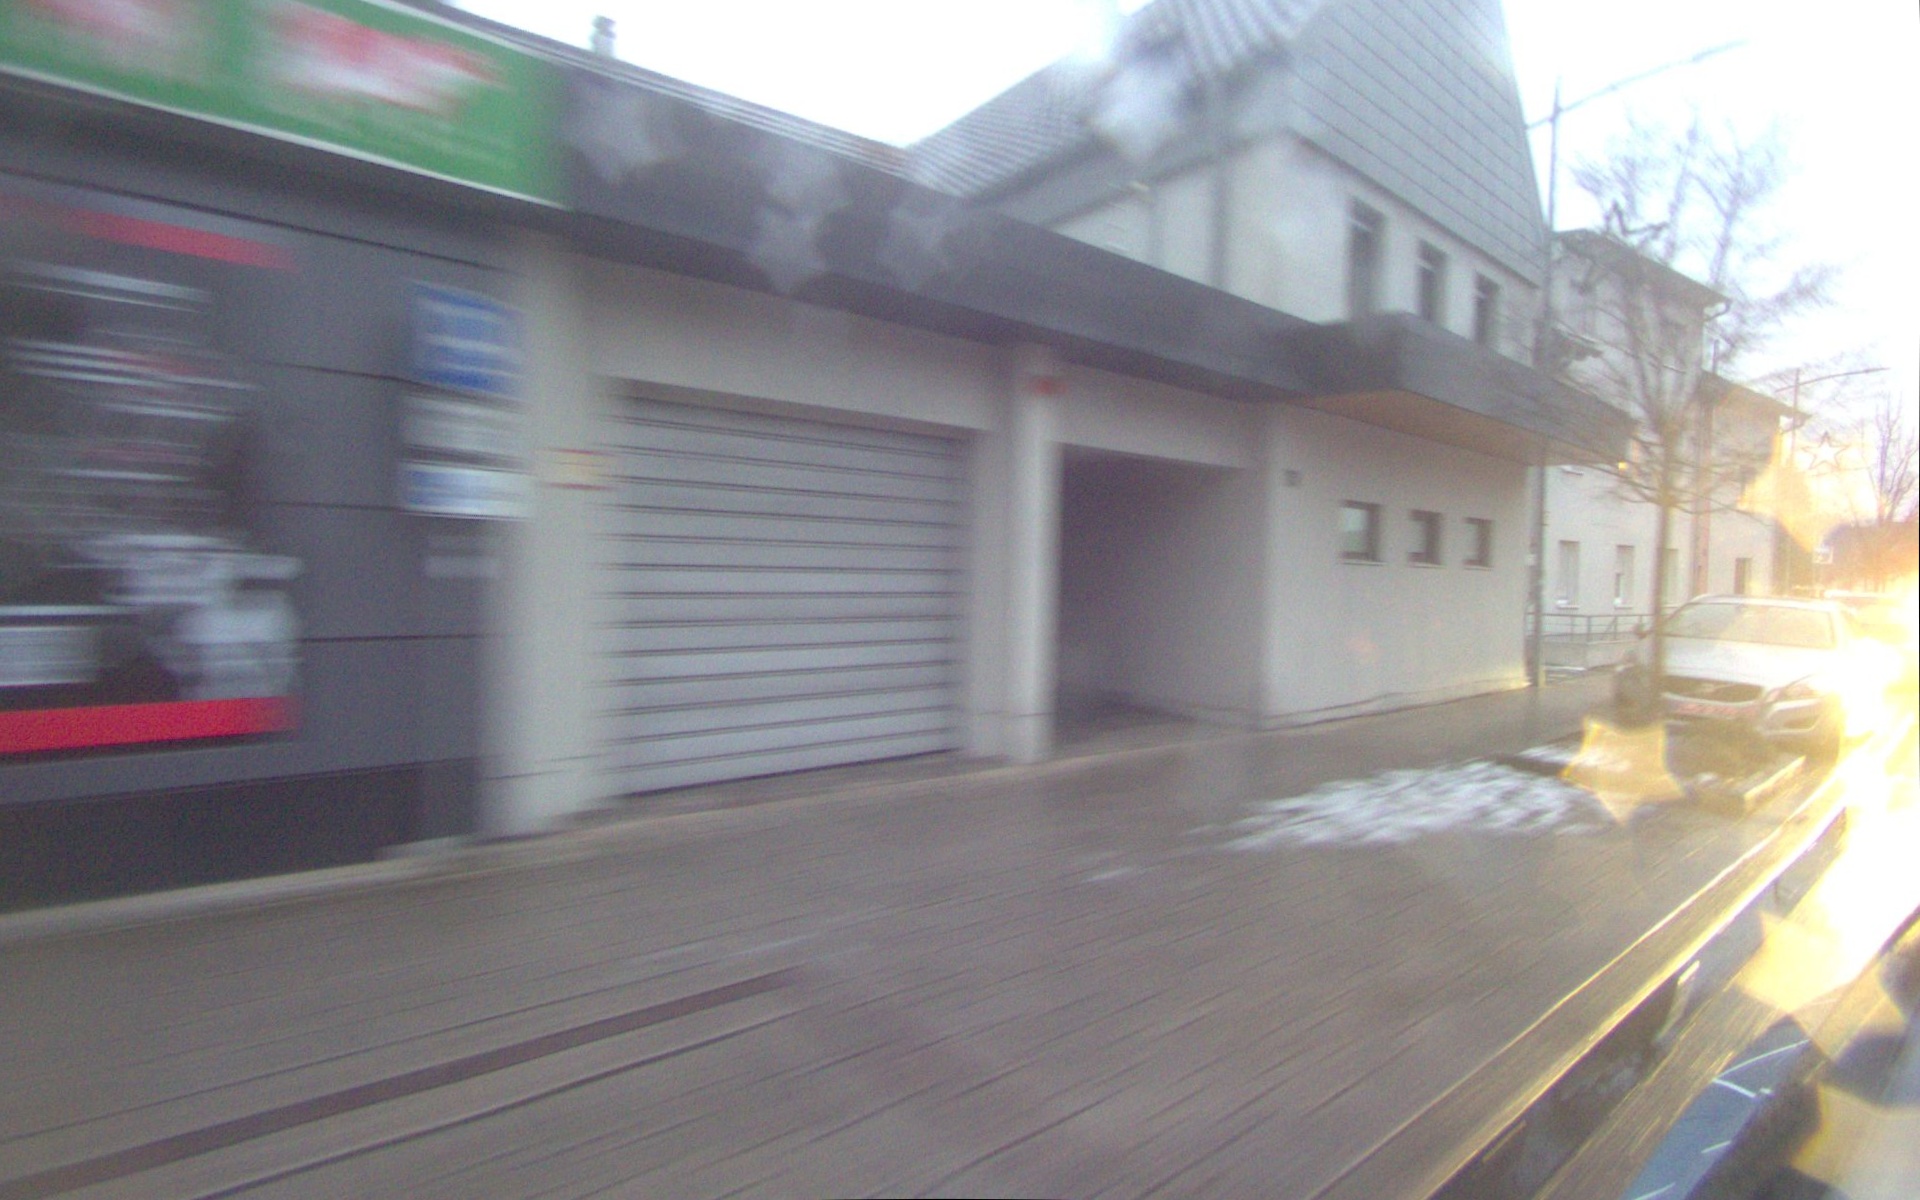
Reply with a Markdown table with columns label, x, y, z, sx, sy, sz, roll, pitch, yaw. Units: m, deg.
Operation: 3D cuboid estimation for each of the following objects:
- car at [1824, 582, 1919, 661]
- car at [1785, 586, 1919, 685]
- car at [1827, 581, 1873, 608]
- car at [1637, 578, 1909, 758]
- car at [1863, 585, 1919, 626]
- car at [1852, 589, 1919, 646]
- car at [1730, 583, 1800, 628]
| label | x | y | z | sx | sy | sz | roll | pitch | yaw |
| --- | --- | --- | --- | --- | --- | --- | --- | --- | --- |
| car | 20.991 | 0.429 | 23.071 | 1.665 | 1.595 | 4.425 | 3 | 2 | 44 |
| car | 16.346 | 0.555 | 18.162 | 1.957 | 1.552 | 4.929 | -1 | 0 | 44 |
| car | 61.815 | -0.397 | 70.352 | 1.906 | 1.812 | 4.507 | 3 | 2 | 36 |
| car | 8.809 | 0.567 | 10.834 | 4.167 | 1.472 | 1.655 | 0 | 4 | -44 |
| car | 39.877 | 0.193 | 43.237 | 1.807 | 1.583 | 4.237 | 3 | 3 | 43 |
| car | 26.613 | 0.451 | 28.849 | 1.702 | 1.469 | 4.127 | 3 | 2 | 42 |
| car | 30.932 | 0.145 | 39.001 | 1.802 | 1.571 | 4.250 | 3 | 2 | 35 |
